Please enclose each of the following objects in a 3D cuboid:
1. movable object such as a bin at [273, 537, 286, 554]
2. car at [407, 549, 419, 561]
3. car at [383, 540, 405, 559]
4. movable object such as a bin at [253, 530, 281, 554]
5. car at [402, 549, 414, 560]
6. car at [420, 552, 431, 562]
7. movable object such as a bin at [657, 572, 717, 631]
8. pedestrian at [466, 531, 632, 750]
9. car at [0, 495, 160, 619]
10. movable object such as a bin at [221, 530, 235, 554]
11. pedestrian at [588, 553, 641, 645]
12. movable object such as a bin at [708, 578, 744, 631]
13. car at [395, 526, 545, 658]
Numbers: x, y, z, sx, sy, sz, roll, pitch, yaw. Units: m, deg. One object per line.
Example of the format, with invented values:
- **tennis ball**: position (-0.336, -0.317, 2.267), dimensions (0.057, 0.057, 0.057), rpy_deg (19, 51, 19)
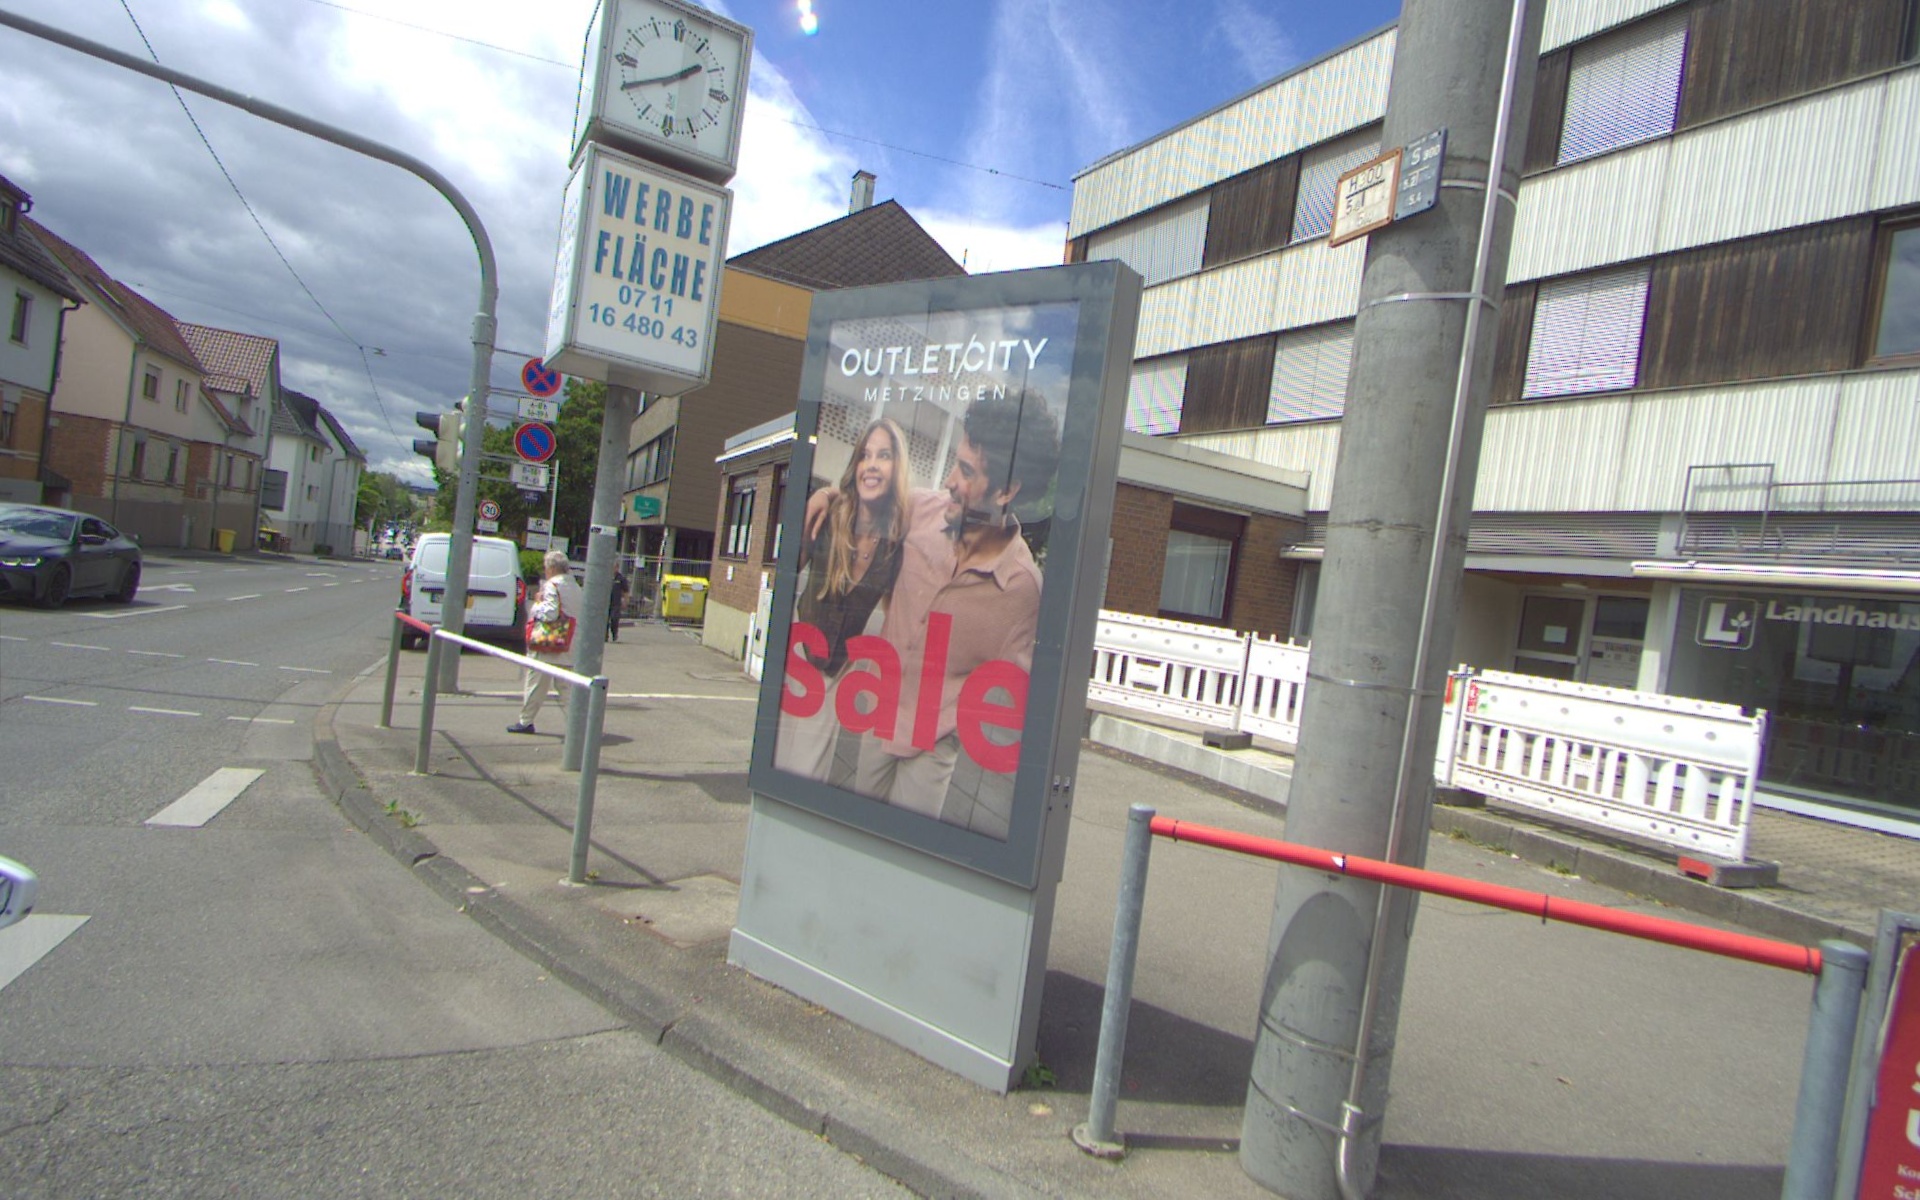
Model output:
- **movable object such as a bin**: position (-43.910, -3.502, 64.919), dimensions (0.527, 1.042, 0.452), rpy_deg (7, 0, -27)
- **car**: position (-109.652, -9.039, 201.538), dimensions (1.978, 2.038, 3.972), rpy_deg (7, -1, -29)
- **car**: position (-70.202, -6.236, 124.735), dimensions (1.982, 2.037, 3.964), rpy_deg (8, -1, -34)
- **movable object such as a bin**: position (-43.900, -3.657, 63.772), dimensions (1.272, 1.325, 0.810), rpy_deg (8, 0, -31)
- **car**: position (-115.467, -9.465, 210.327), dimensions (1.978, 2.038, 3.972), rpy_deg (7, -1, -29)
- **car**: position (-115.062, -9.244, 216.596), dimensions (1.978, 2.038, 3.972), rpy_deg (7, -1, -29)
- **movable object such as a bin**: position (-8.142, 0.047, 29.941), dimensions (1.467, 1.511, 1.070), rpy_deg (7, 2, -22)
- **pedestrian**: position (-3.401, 0.319, 8.381), dimensions (0.857, 1.659, 0.836), rpy_deg (5, 2, 13)
- **car**: position (-13.958, -0.730, 15.014), dimensions (1.977, 1.473, 4.589), rpy_deg (10, -2, -25)
- **movable object such as a bin**: position (-36.226, -2.866, 49.795), dimensions (0.427, 1.142, 0.297), rpy_deg (6, 1, -27)
- **pedestrian**: position (-7.222, -0.032, 21.015), dimensions (0.835, 1.826, 0.647), rpy_deg (5, 1, -26)
- **movable object such as a bin**: position (-7.088, 0.137, 30.418), dimensions (0.772, 1.459, 1.012), rpy_deg (7, 2, -22)
- **car**: position (-8.134, -0.171, 16.962), dimensions (1.891, 1.817, 4.465), rpy_deg (4, 0, -24)
